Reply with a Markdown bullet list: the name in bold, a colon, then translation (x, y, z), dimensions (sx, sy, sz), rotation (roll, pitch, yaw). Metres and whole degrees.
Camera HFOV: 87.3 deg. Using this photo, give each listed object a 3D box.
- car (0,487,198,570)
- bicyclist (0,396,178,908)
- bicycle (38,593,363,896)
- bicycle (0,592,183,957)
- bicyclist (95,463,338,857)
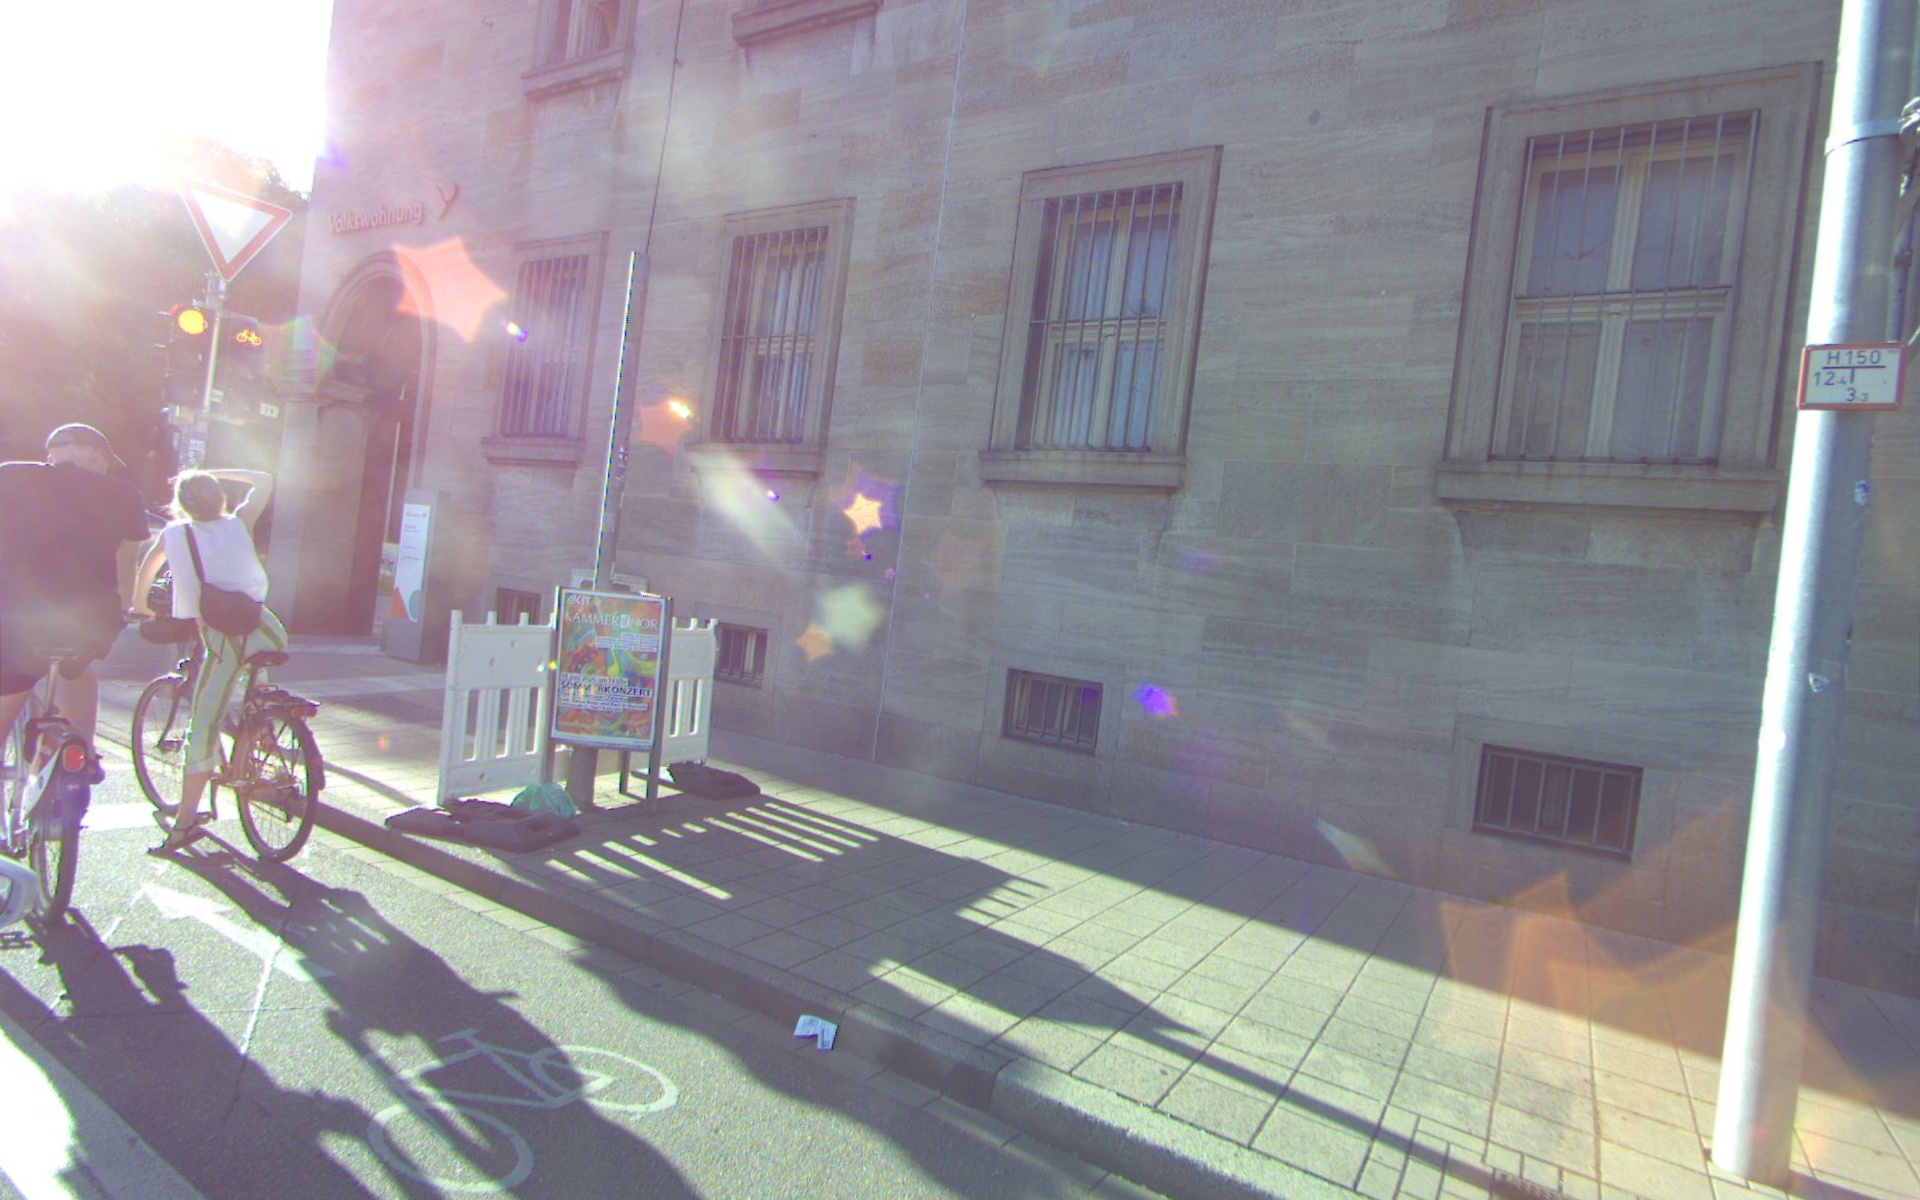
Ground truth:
- **car**: translation (-23.367, -1.893, 27.188), dimensions (1.623, 1.630, 3.999), rotation (7, -1, 31)
- **bicyclist**: translation (-3.546, 0.192, 3.844), dimensions (0.541, 1.820, 0.559), rotation (7, -1, 33)
- **bicycle**: translation (-3.679, 0.620, 4.832), dimensions (1.721, 1.090, 0.535), rotation (7, -1, 31)
- **bicycle**: translation (-3.735, 0.573, 3.914), dimensions (1.700, 1.090, 0.516), rotation (7, -1, 34)
- **bicyclist**: translation (-3.532, 0.265, 4.793), dimensions (0.629, 1.711, 0.558), rotation (7, -1, 30)
